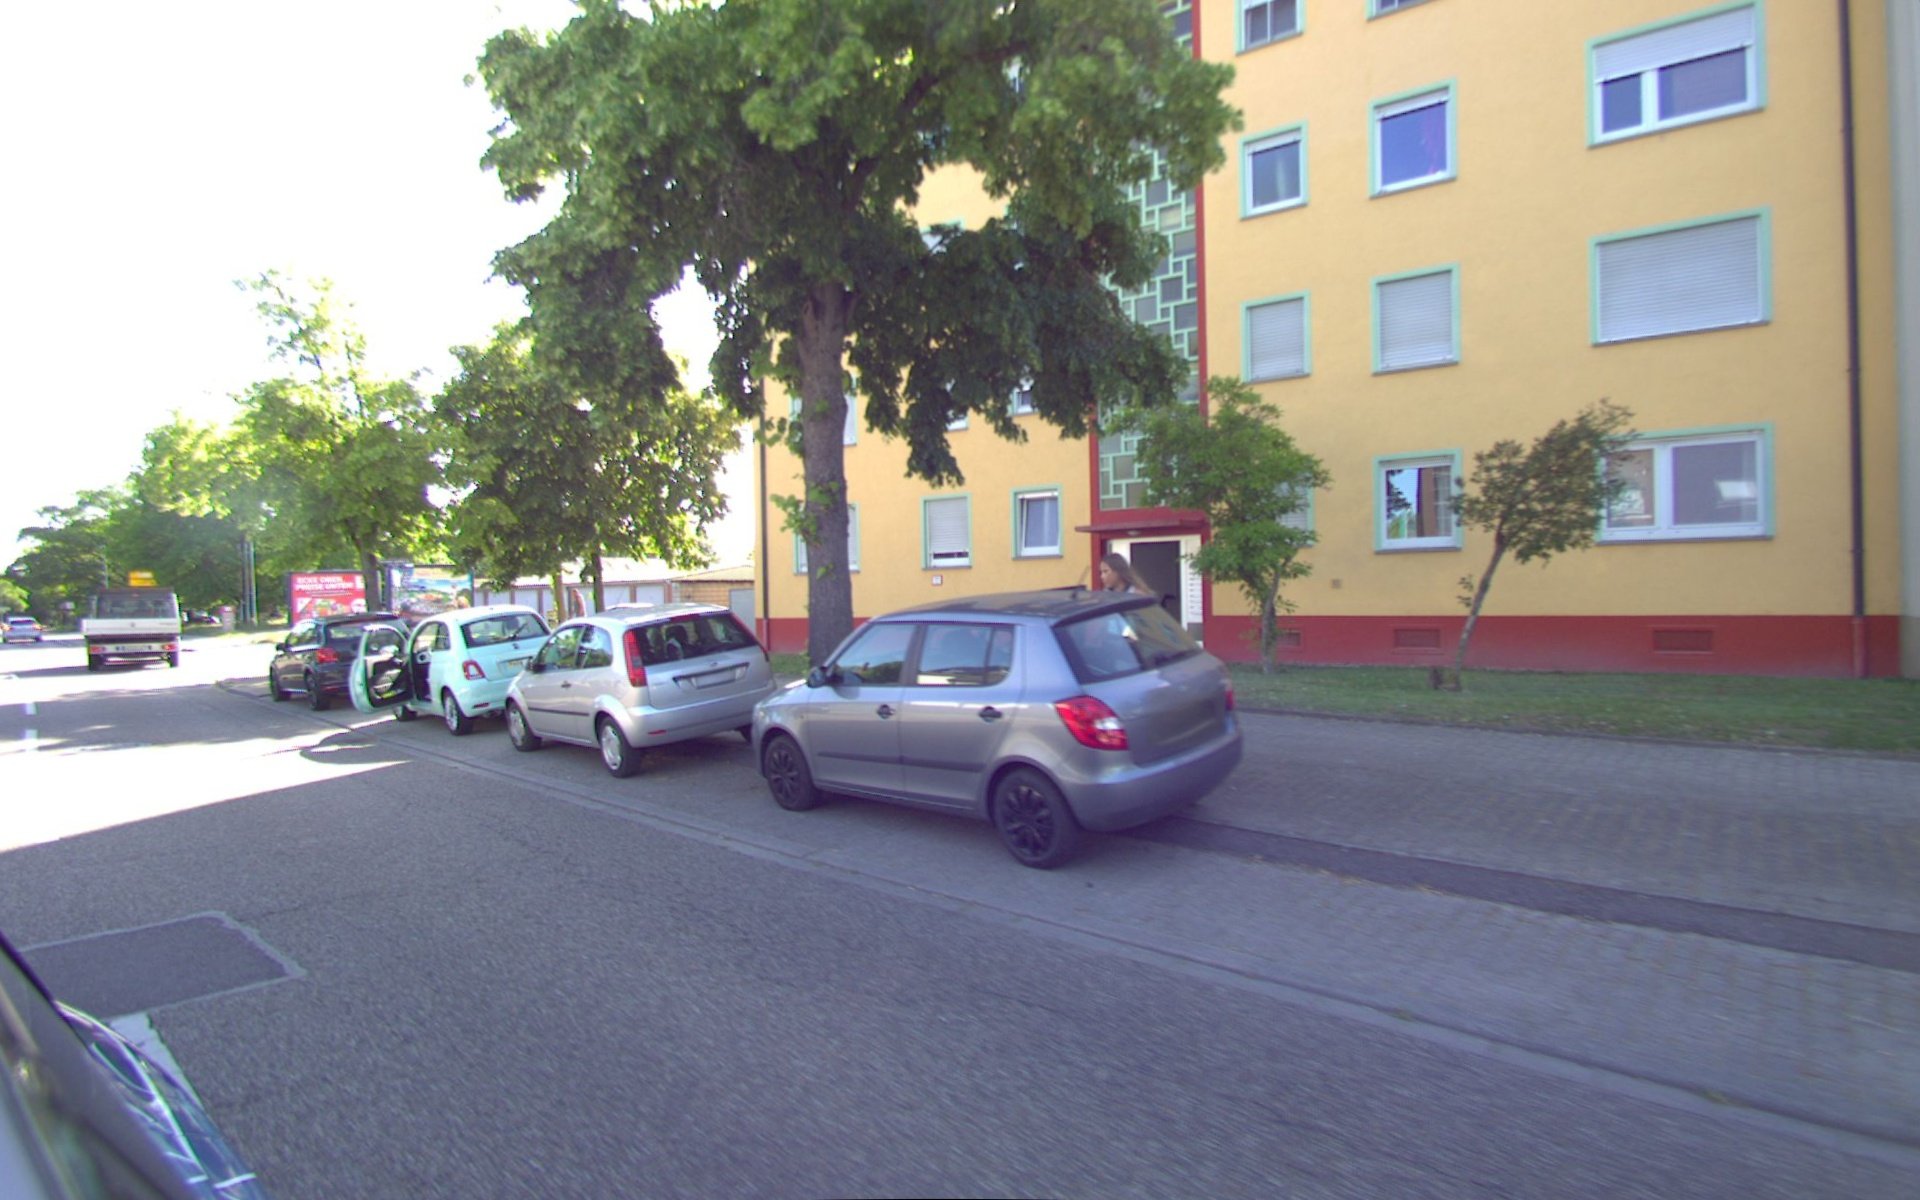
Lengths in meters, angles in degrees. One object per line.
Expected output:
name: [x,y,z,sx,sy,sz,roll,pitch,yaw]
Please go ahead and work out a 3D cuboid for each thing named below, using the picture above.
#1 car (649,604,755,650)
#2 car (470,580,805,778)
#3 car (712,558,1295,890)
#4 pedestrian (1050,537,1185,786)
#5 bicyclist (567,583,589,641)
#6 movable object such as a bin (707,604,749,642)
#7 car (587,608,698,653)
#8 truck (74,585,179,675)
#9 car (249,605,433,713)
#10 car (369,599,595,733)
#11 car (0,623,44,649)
car: [-9.986,1.031,39.076,3.866,1.634,1.686,-2,0,30]
car: [-3.475,0.675,10.447,1.639,1.520,4.004,-7,4,-43]
car: [0.052,0.630,6.912,1.550,1.541,3.922,-7,3,-43]
pedestrian: [1.172,0.420,7.544,0.721,1.731,0.677,1,1,45]
bicyclist: [-11.397,0.351,30.184,0.378,1.698,0.388,-3,0,14]
movable object such as a bin: [-5.829,0.581,25.442,0.745,0.917,0.690,-2,-1,37]
car: [-11.493,1.111,36.568,3.869,1.475,1.715,-2,-1,33]
truck: [-24.349,0.815,29.771,2.102,2.352,6.456,0,-1,-37]
car: [-10.658,0.905,17.307,4.053,1.491,1.682,1,3,44]
car: [-6.701,0.777,13.963,1.680,1.534,4.057,0,0,-43]
car: [-56.768,2.158,61.170,4.892,1.500,1.816,-1,-1,45]
